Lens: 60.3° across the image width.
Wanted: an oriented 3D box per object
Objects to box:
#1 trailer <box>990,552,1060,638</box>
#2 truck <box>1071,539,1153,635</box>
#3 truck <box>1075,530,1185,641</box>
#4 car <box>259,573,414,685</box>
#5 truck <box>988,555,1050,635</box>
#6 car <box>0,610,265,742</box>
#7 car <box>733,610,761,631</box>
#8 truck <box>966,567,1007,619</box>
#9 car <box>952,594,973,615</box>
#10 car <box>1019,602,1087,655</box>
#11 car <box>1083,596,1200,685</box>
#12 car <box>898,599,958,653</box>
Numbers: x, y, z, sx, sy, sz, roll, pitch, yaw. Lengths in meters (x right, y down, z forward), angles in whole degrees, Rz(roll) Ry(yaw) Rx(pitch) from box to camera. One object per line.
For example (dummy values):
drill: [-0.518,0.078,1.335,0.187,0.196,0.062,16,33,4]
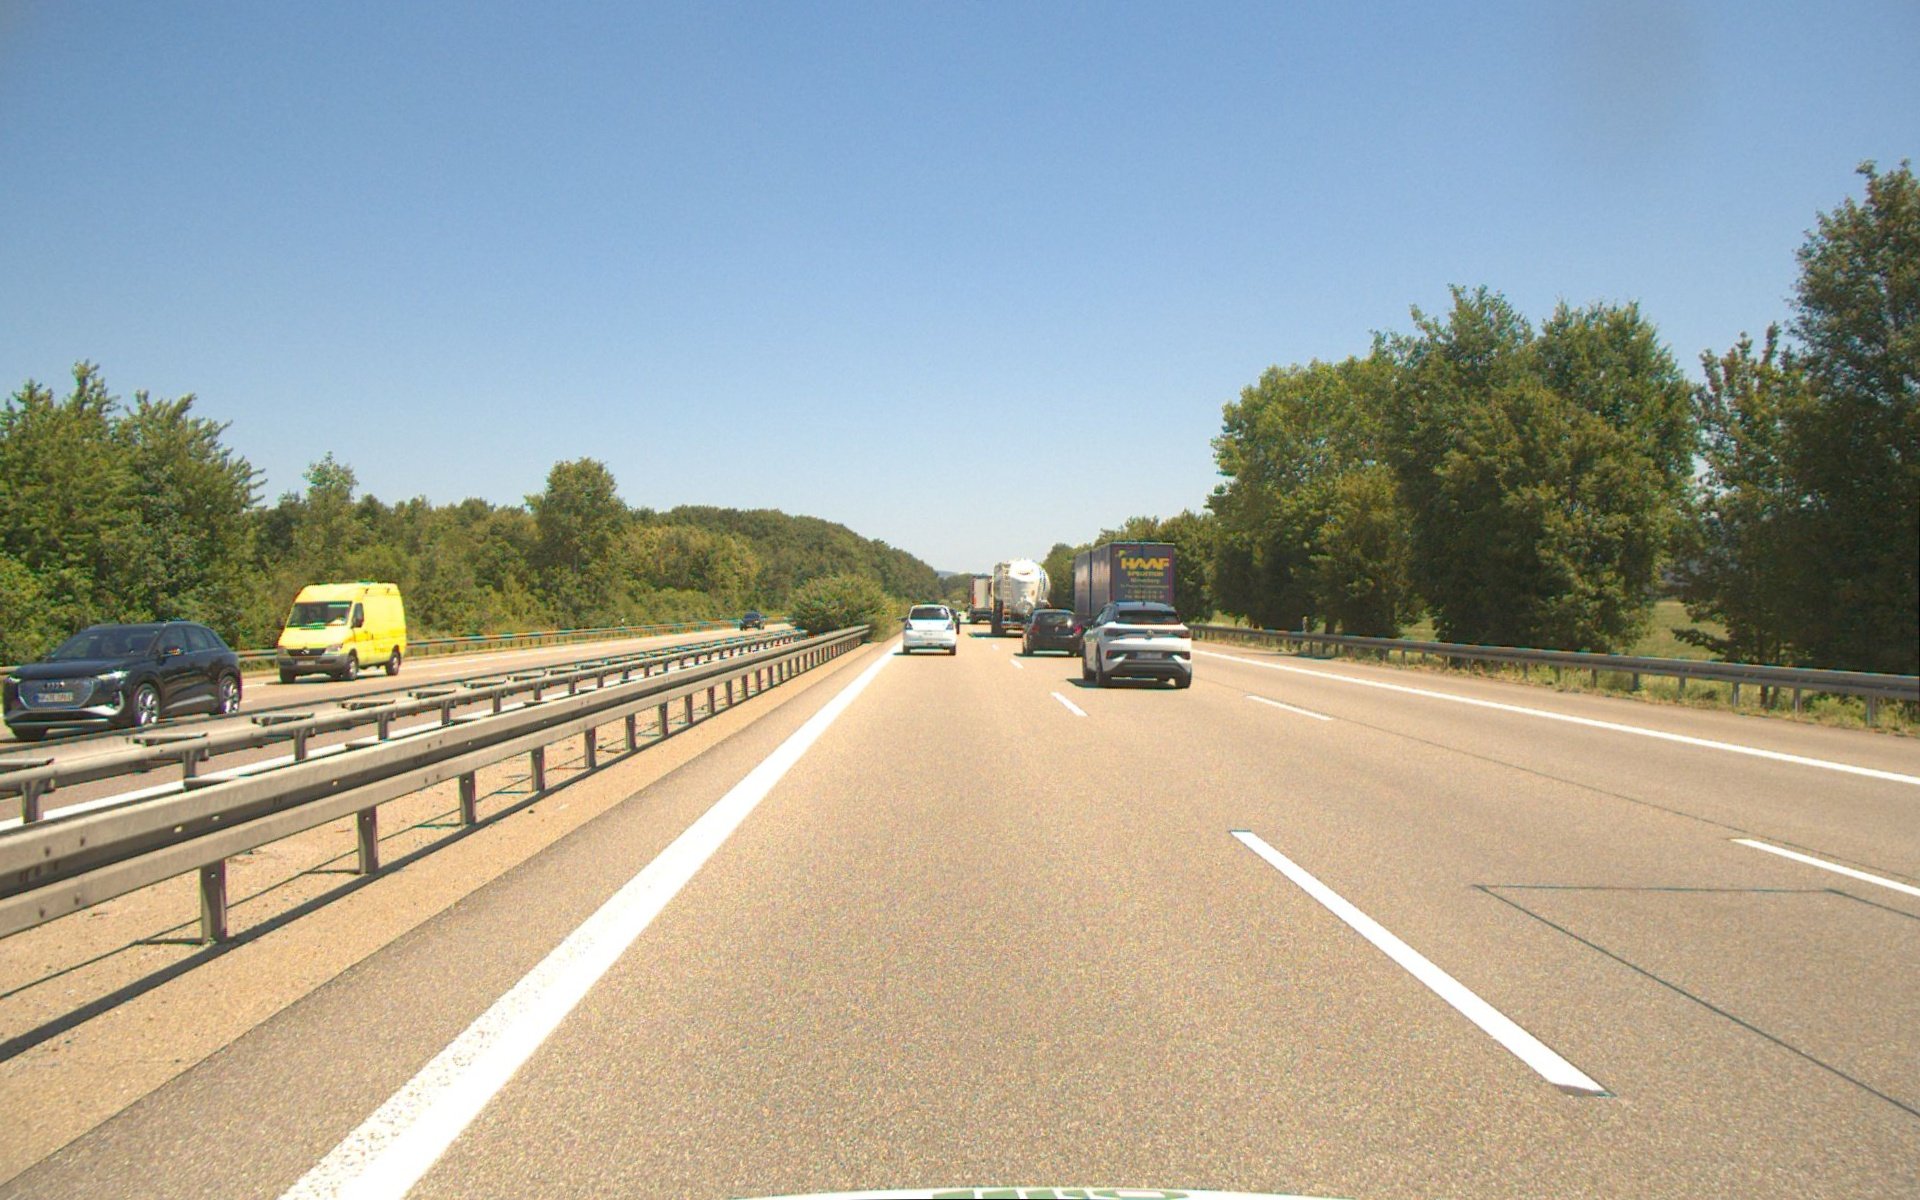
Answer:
trailer: [3.285,-0.263,86.746,2.852,4.140,12.415,1,0,-1]
truck: [7.021,-0.568,77.548,3.045,4.211,8.055,1,0,0]
truck: [7.067,-0.549,71.314,3.045,4.211,15.510,1,0,0]
car: [-17.232,0.747,46.046,2.121,2.828,5.798,-2,0,-1]
truck: [3.185,-0.261,91.043,2.853,4.150,7.192,1,0,-2]
car: [-12.421,1.063,25.068,1.830,1.719,4.625,-2,0,-1]
car: [-18.329,1.722,142.405,1.885,1.747,4.287,-1,0,-1]
truck: [2.247,-0.609,144.668,3.325,4.287,12.082,1,0,0]
car: [0.292,0.514,194.649,2.424,2.395,5.181,1,0,0]
car: [2.867,0.851,51.765,1.813,1.549,3.956,1,0,-1]
car: [3.543,0.754,32.989,1.766,1.631,4.379,1,0,-1]
car: [-1.022,0.780,51.780,1.763,1.579,3.609,1,0,-2]
